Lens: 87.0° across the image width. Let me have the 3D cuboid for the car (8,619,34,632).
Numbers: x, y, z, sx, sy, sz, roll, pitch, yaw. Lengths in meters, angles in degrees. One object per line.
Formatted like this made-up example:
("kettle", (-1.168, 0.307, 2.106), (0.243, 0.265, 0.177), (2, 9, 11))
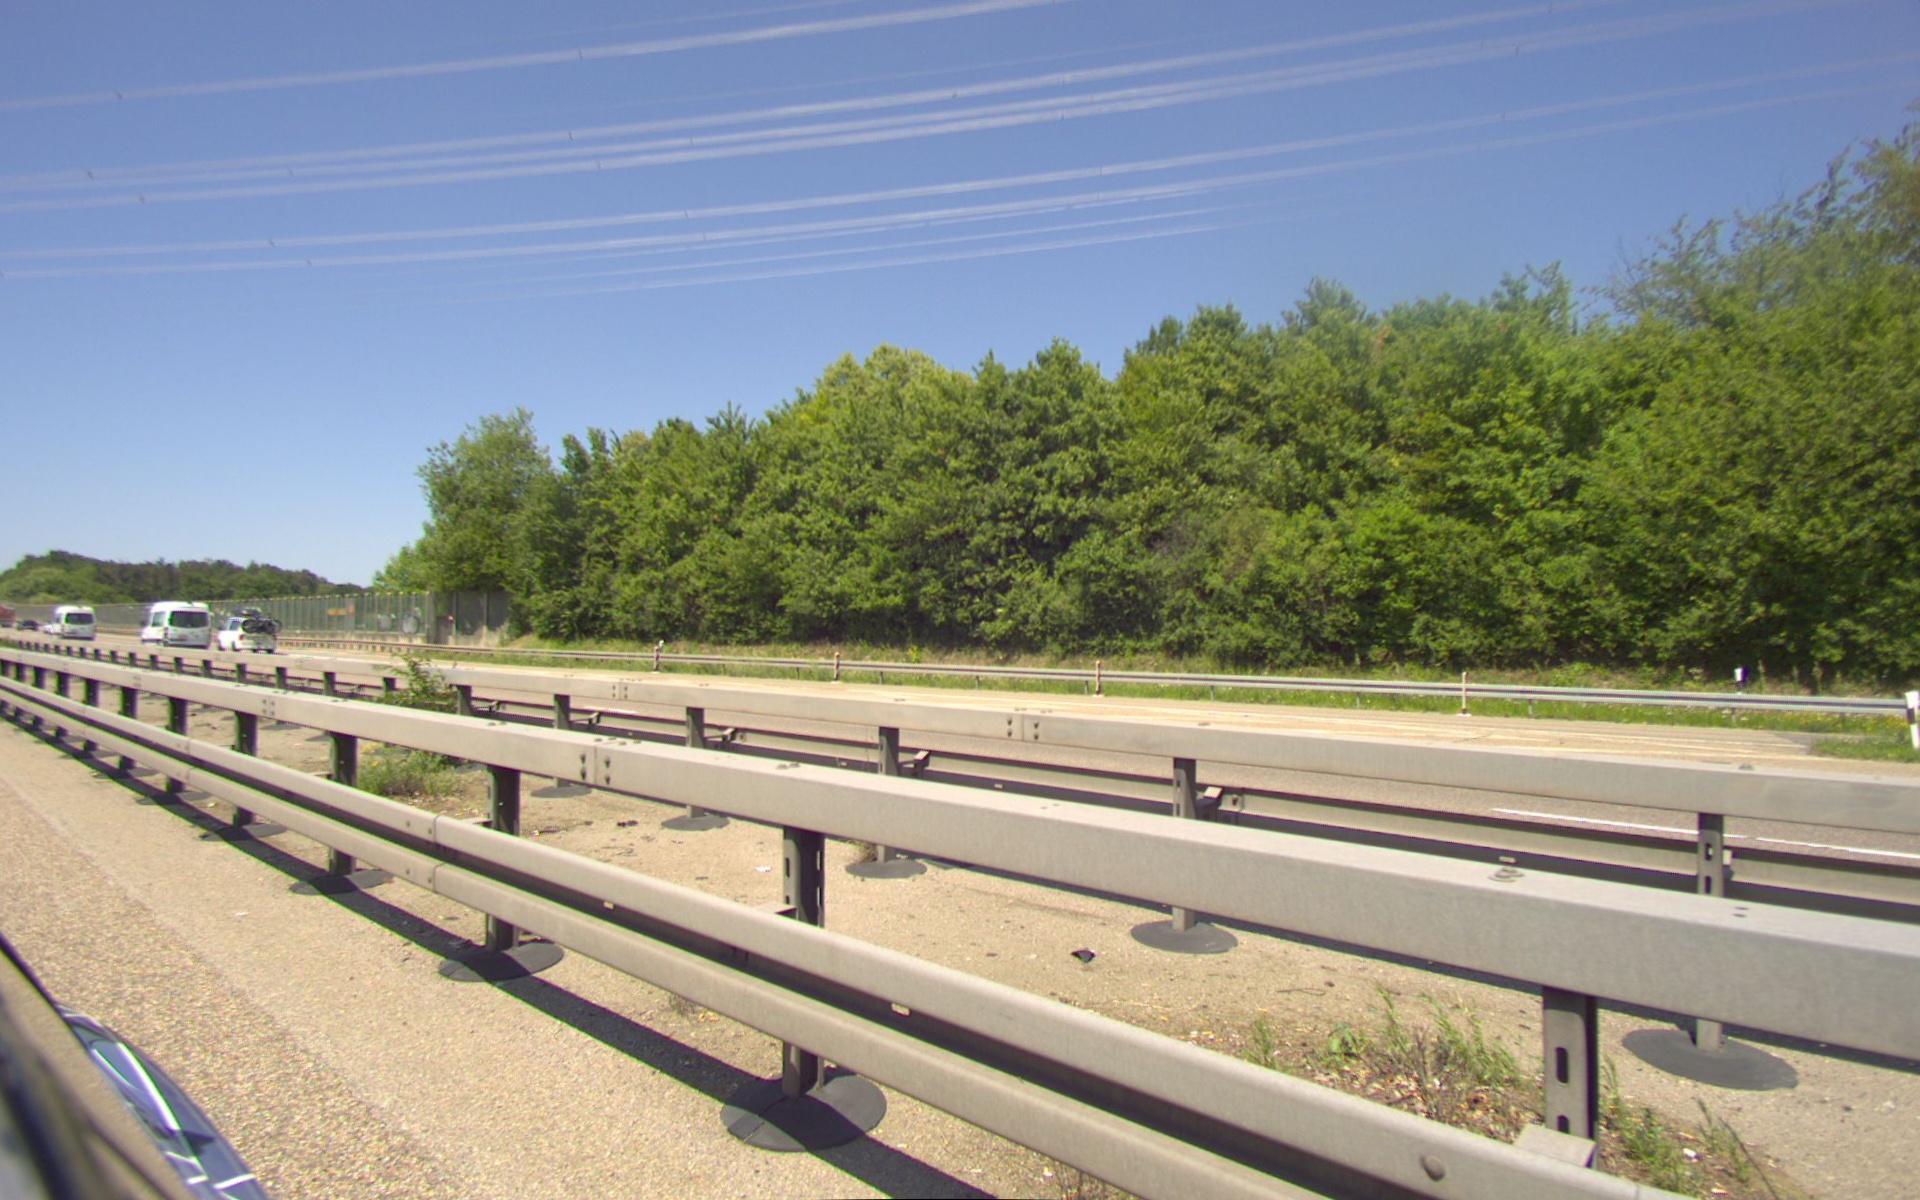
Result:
("car", (-124.524, 3.423, 134.234), (5.272, 1.588, 1.973), (0, 0, 41))

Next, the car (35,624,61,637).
("car", (-105.191, 3.510, 116.741), (4.344, 1.467, 1.667), (-1, -3, 41))

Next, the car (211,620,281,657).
("car", (-39.659, 2.107, 56.147), (5.490, 1.919, 1.845), (0, -3, 41))

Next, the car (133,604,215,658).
("car", (-40.076, 1.547, 51.565), (5.887, 2.613, 2.133), (0, -2, 41))

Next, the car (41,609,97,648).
("car", (-64.206, 2.029, 72.880), (5.835, 2.671, 2.031), (0, -5, 40))

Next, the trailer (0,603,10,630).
("trailer", (-149.299, 2.543, 155.961), (14.674, 4.007, 2.734), (-2, -4, 41))
